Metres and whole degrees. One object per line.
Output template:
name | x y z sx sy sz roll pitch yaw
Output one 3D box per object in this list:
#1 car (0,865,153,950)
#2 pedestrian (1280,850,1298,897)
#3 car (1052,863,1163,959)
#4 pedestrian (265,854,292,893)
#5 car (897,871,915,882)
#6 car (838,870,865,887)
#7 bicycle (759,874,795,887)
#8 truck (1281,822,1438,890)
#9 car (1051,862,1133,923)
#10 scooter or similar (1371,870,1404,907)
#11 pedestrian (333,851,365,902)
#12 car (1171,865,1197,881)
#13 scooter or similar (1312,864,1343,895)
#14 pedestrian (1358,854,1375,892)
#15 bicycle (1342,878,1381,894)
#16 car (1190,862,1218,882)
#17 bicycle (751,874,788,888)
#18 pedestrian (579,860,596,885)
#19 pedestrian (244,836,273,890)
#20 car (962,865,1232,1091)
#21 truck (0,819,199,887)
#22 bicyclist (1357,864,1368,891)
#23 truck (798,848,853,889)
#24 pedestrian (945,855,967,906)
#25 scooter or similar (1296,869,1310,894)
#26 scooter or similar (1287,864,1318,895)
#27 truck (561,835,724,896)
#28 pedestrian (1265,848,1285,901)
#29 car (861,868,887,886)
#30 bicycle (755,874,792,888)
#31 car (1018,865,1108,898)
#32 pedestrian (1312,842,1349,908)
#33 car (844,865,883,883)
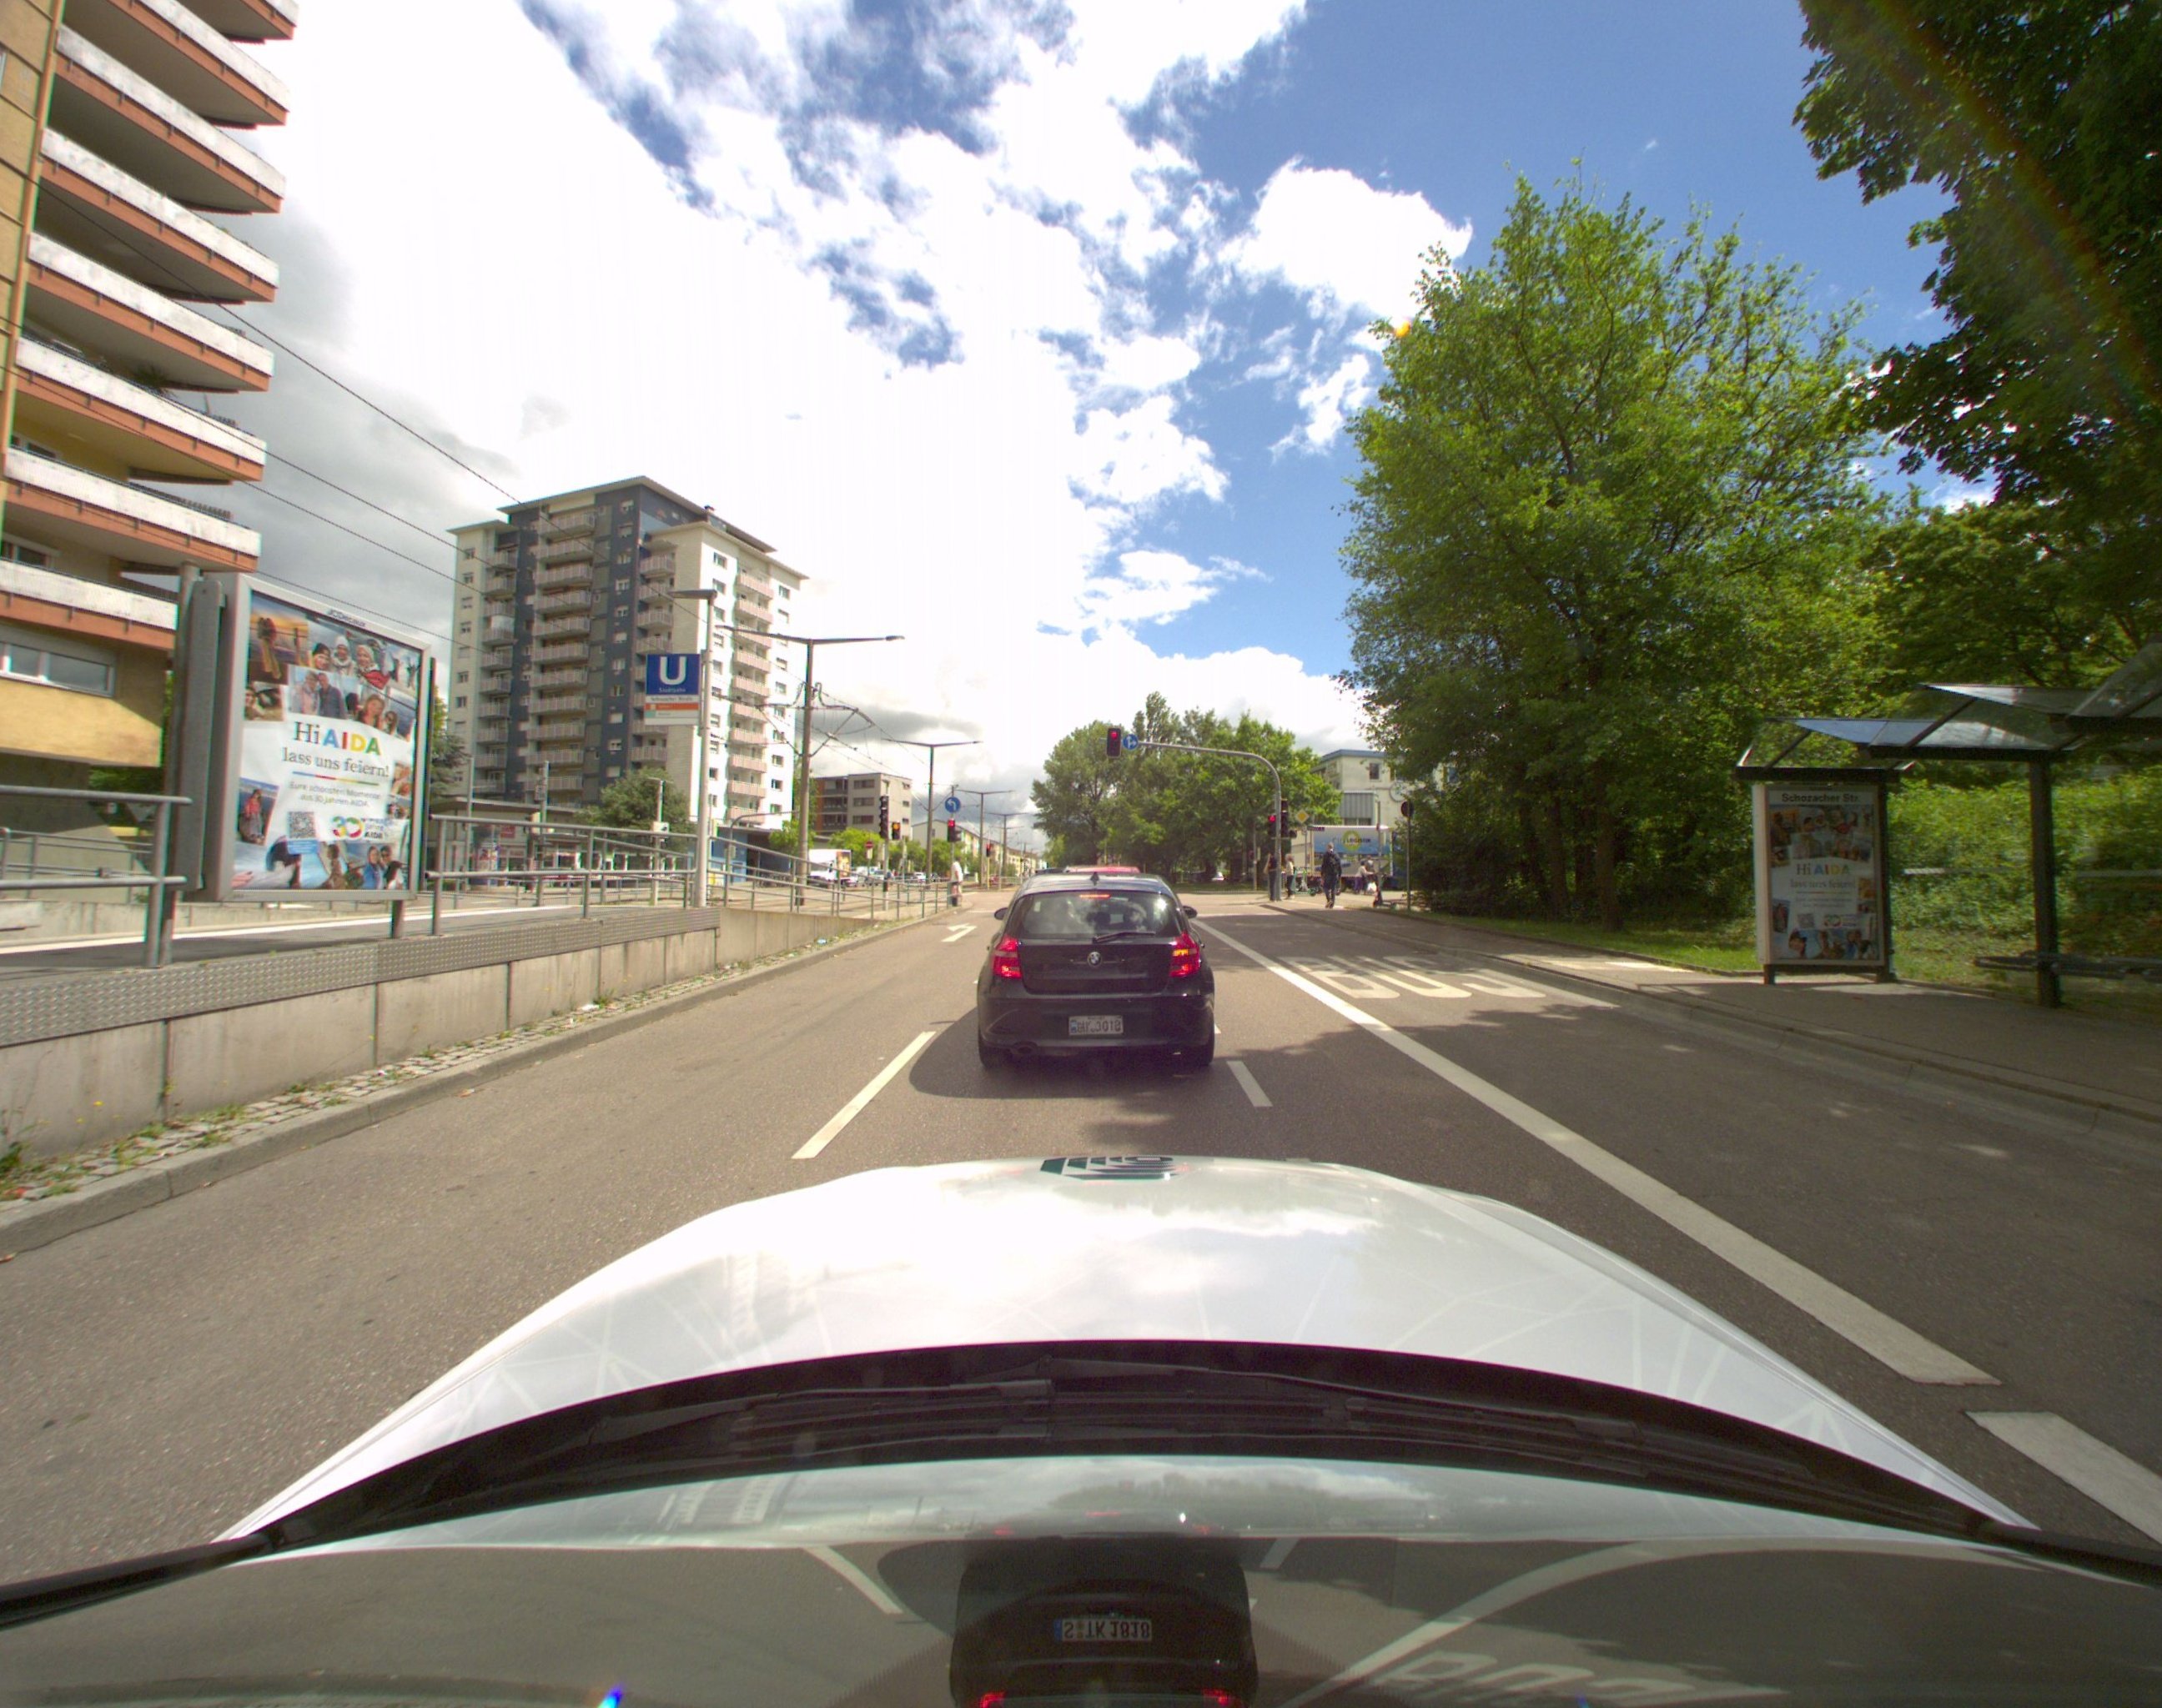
car | -18.689 0.904 13.735 1.573 1.405 3.866 -1 -1 2
pedestrian | 7.783 0.724 30.465 0.632 1.766 0.519 0 -1 10
car | 0.444 0.858 13.737 1.632 1.400 3.421 0 -1 2
pedestrian | -30.373 0.743 30.821 0.494 1.440 0.551 -2 -1 12
car | -24.143 3.048 112.659 1.586 1.474 3.775 0 -1 1
car | -20.676 2.166 73.418 1.402 1.461 3.773 0 -1 0
bicycle | -24.274 2.141 65.075 2.570 1.009 0.749 2 -3 -27
truck | 14.217 0.079 41.793 7.268 3.348 2.599 0 -1 -10
car | 0.333 0.922 21.214 1.893 1.422 4.540 0 -1 2
scooter or similar | 10.686 1.204 28.405 0.886 1.230 0.455 4 -1 2
pedestrian | -26.044 0.781 28.968 0.650 1.776 0.667 -1 -1 30
car | 11.430 2.088 90.558 1.862 1.662 3.987 0 -1 -9
scooter or similar | 10.205 1.060 33.720 1.145 1.272 0.556 1 -1 4
pedestrian | 13.122 0.879 37.382 0.651 1.713 0.464 -1 -1 28
bicycle | 12.139 1.375 35.223 1.572 0.610 0.537 1 0 22
car | 11.984 1.756 79.629 1.724 1.871 3.990 0 -1 -7
bicycle | -24.018 2.107 62.871 2.570 1.009 0.749 2 -3 -27
pedestrian | -39.607 1.468 65.315 0.851 2.014 0.852 -1 -1 29
pedestrian | -31.531 0.346 31.235 0.556 2.014 0.542 0 -1 13
car | 0.153 0.802 6.836 1.694 1.400 3.421 0 -1 2
truck | -34.575 -0.024 28.753 4.262 2.290 2.352 0 -1 2
bicyclist | 12.185 1.025 35.212 0.395 1.157 0.505 -1 -1 22
truck | -20.522 1.182 65.806 2.275 3.118 7.312 0 -1 -2
pedestrian | -4.273 0.901 27.845 0.686 1.734 0.687 0 -1 -4
scooter or similar | 9.481 1.164 34.795 0.543 1.064 1.267 0 -1 16
scooter or similar | 8.917 1.011 32.769 1.105 1.235 0.540 0 -1 4
truck | -22.470 0.608 41.856 7.222 2.940 2.768 -1 -1 11
pedestrian | 6.827 0.716 28.657 0.632 1.876 0.519 0 -1 10
car | -21.057 2.359 83.051 1.586 1.756 3.775 0 -1 1
bicycle | -24.151 2.131 63.970 2.570 1.009 0.749 2 -3 -27
car | -0.889 1.270 39.054 3.995 1.486 1.837 0 -1 -16
pedestrian | 7.290 0.597 23.813 0.792 1.876 1.014 -1 -1 2
car | -24.113 2.200 90.325 3.945 1.975 1.637 0 -1 -41
